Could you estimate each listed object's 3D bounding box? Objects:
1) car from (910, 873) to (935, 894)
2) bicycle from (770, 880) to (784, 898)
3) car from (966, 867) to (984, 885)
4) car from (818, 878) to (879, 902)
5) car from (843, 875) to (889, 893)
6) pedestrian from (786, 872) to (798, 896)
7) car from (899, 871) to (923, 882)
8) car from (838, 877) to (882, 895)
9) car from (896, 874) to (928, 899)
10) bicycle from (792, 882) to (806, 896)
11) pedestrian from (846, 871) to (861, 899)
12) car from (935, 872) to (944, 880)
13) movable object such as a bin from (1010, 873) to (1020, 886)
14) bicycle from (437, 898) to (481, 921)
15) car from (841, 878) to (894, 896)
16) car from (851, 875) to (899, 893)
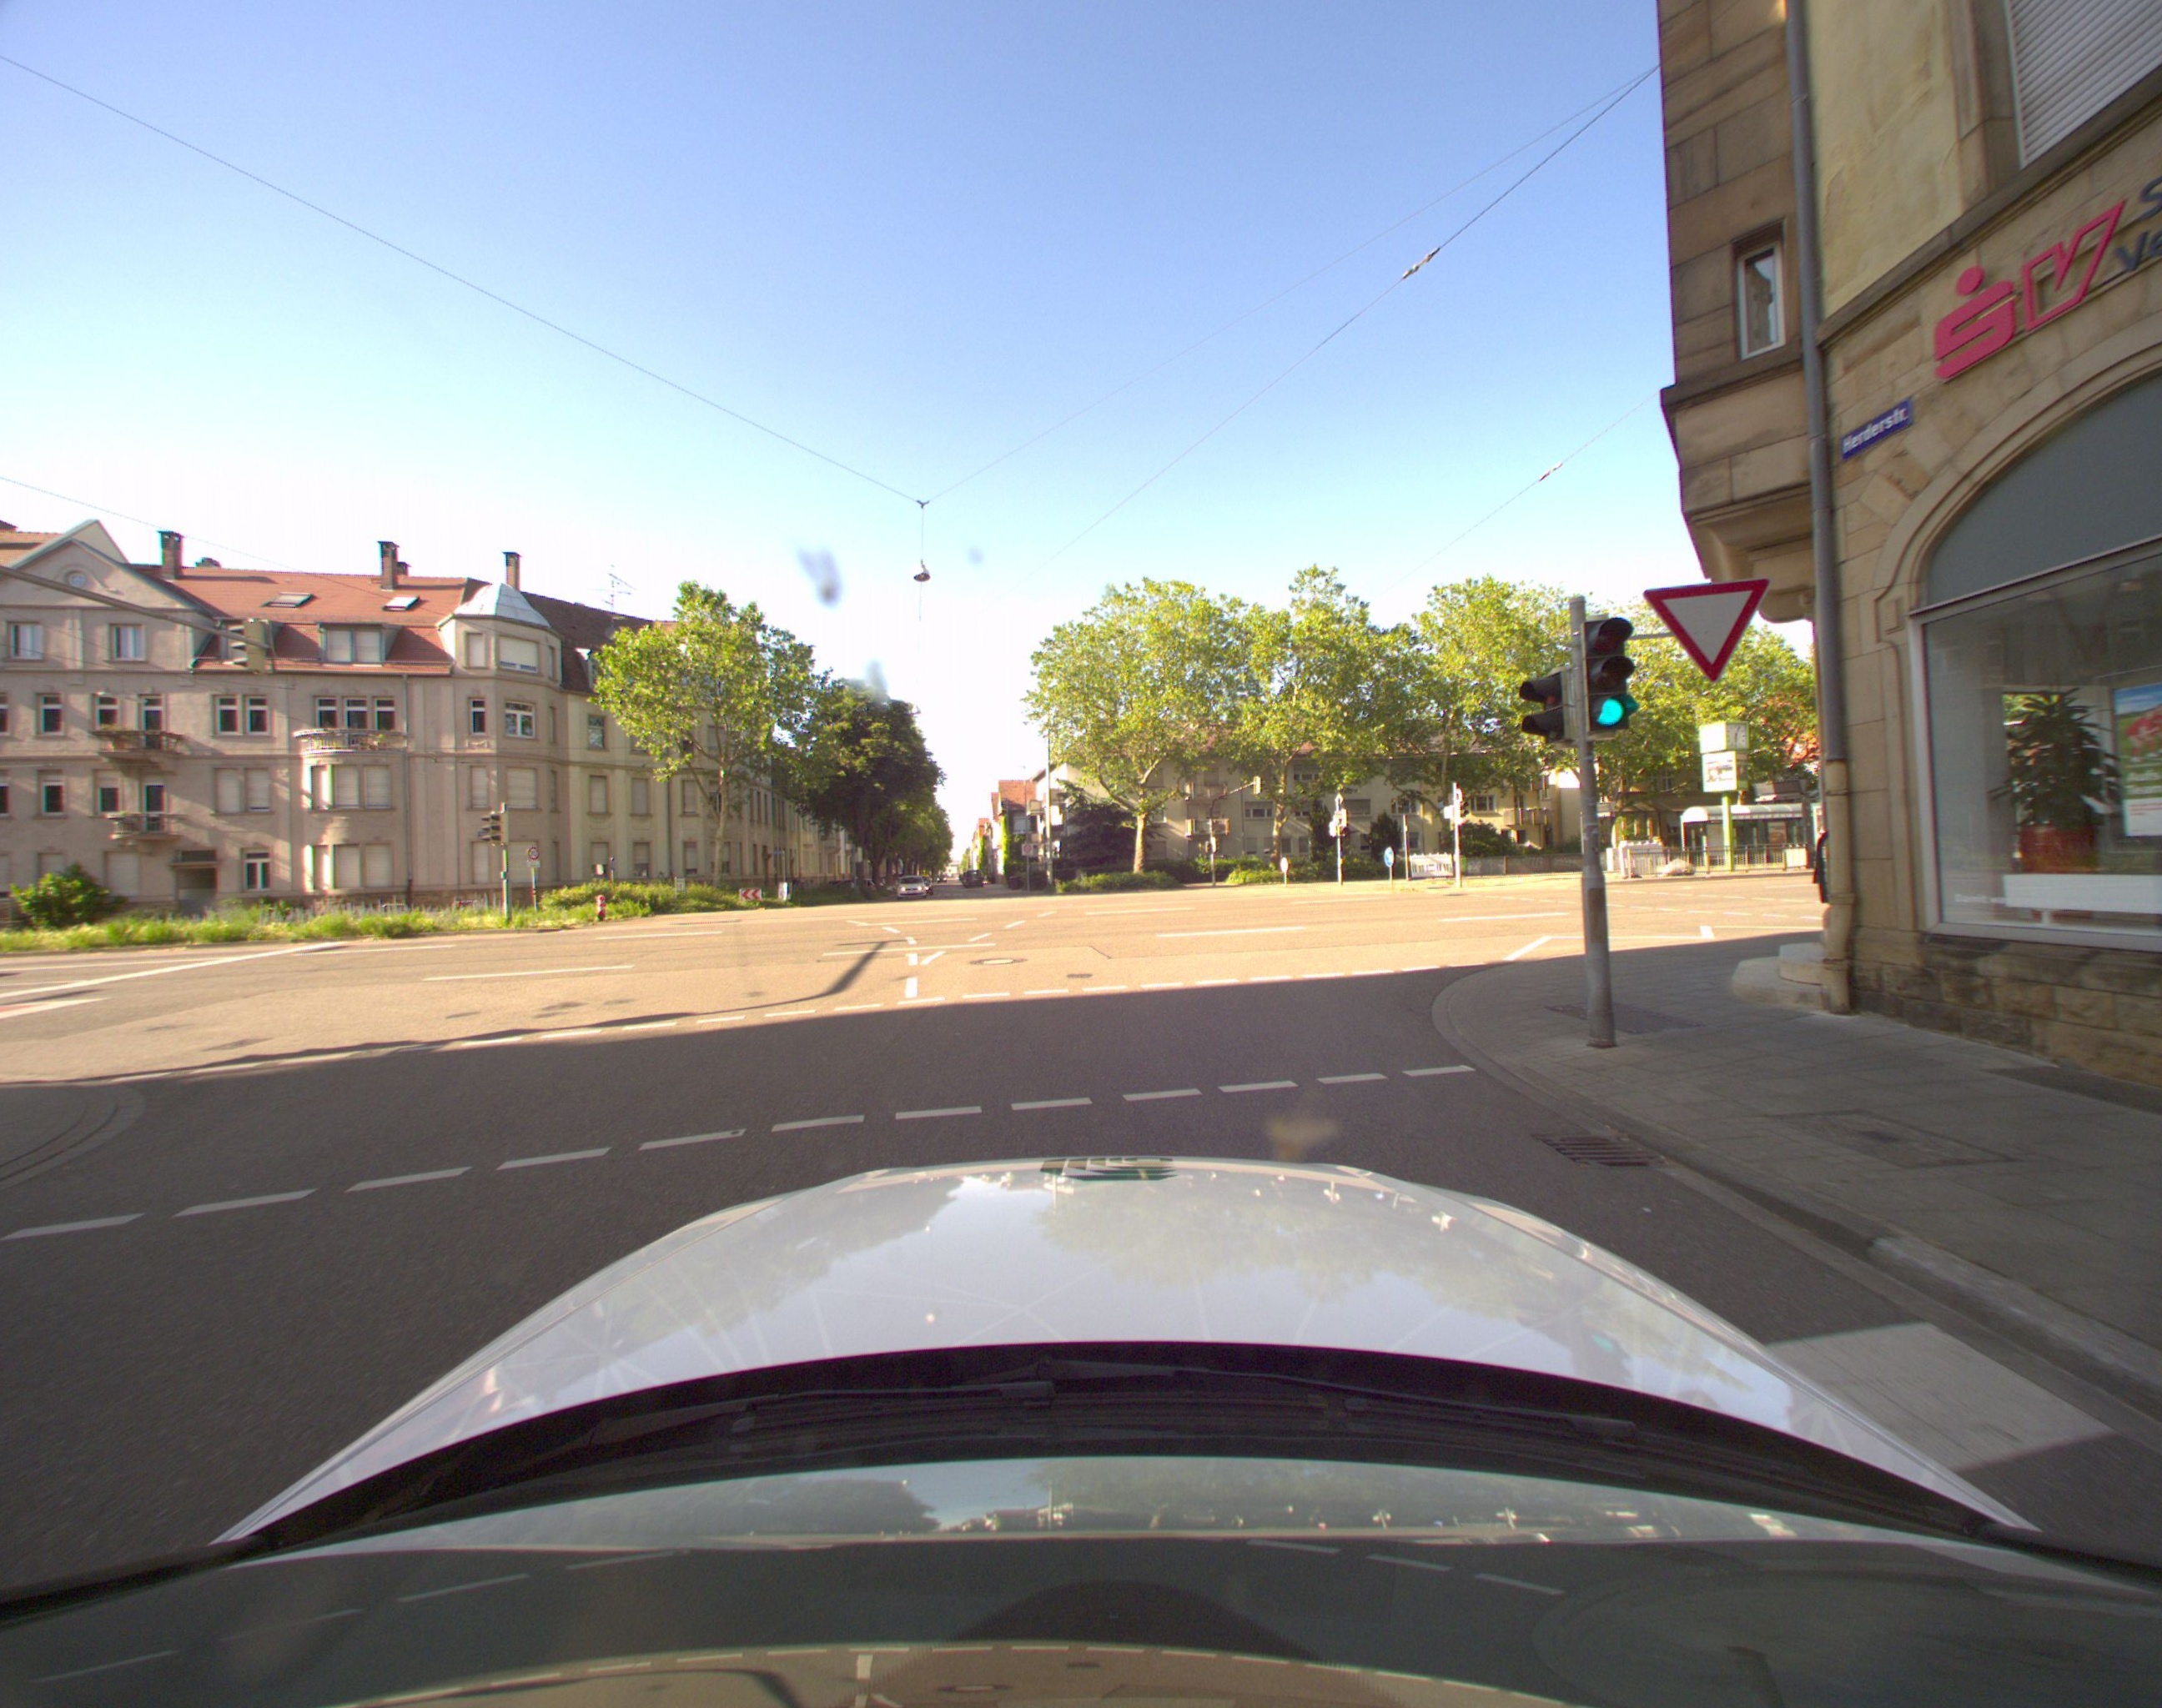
[{"bbox_3d":[-12.075,2.222,62.113,1.660,1.464,3.797,-2,-1,-8],"label":"car"},{"bbox_3d":[-21.711,2.482,58.145,0.513,1.154,1.976,0,-1,-9],"label":"bicycle"},{"bbox_3d":[-11.658,2.433,89.296,1.864,1.916,4.767,0,-1,-9],"label":"car"},{"bbox_3d":[-16.493,2.531,57.914,3.882,1.476,1.610,-3,-1,-10],"label":"car"},{"bbox_3d":[-20.705,2.855,78.491,3.985,1.508,1.717,-3,-1,-8],"label":"car"},{"bbox_3d":[-20.342,2.088,57.312,0.458,1.658,0.894,-2,-1,-1],"label":"pedestrian"},{"bbox_3d":[-29.736,3.934,142.429,3.991,1.761,1.790,0,-2,-13],"label":"car"},{"bbox_3d":[-19.283,2.811,71.071,3.431,1.452,1.698,-1,-2,-8],"label":"car"},{"bbox_3d":[-10.636,2.040,51.450,1.806,1.458,3.985,-2,-2,-10],"label":"car"},{"bbox_3d":[-19.868,2.442,57.402,0.470,0.912,1.595,-2,-1,-2],"label":"bicycle"},{"bbox_3d":[-14.152,1.936,50.639,0.691,1.682,0.680,-2,-1,1],"label":"pedestrian"},{"bbox_3d":[-27.262,4.179,157.019,1.641,1.508,3.689,-3,-1,-10],"label":"car"},{"bbox_3d":[-5.406,2.091,66.525,0.597,1.044,0.704,-6,-1,-12],"label":"movable object such as a bin"},{"bbox_3d":[-27.309,2.417,35.766,1.436,0.905,0.495,-2,-1,-14],"label":"bicycle"},{"bbox_3d":[-18.026,2.759,68.933,4.212,1.349,1.697,-1,-2,-10],"label":"car"},{"bbox_3d":[-18.620,2.687,73.705,3.985,1.482,1.780,-1,-1,-8],"label":"car"}]
